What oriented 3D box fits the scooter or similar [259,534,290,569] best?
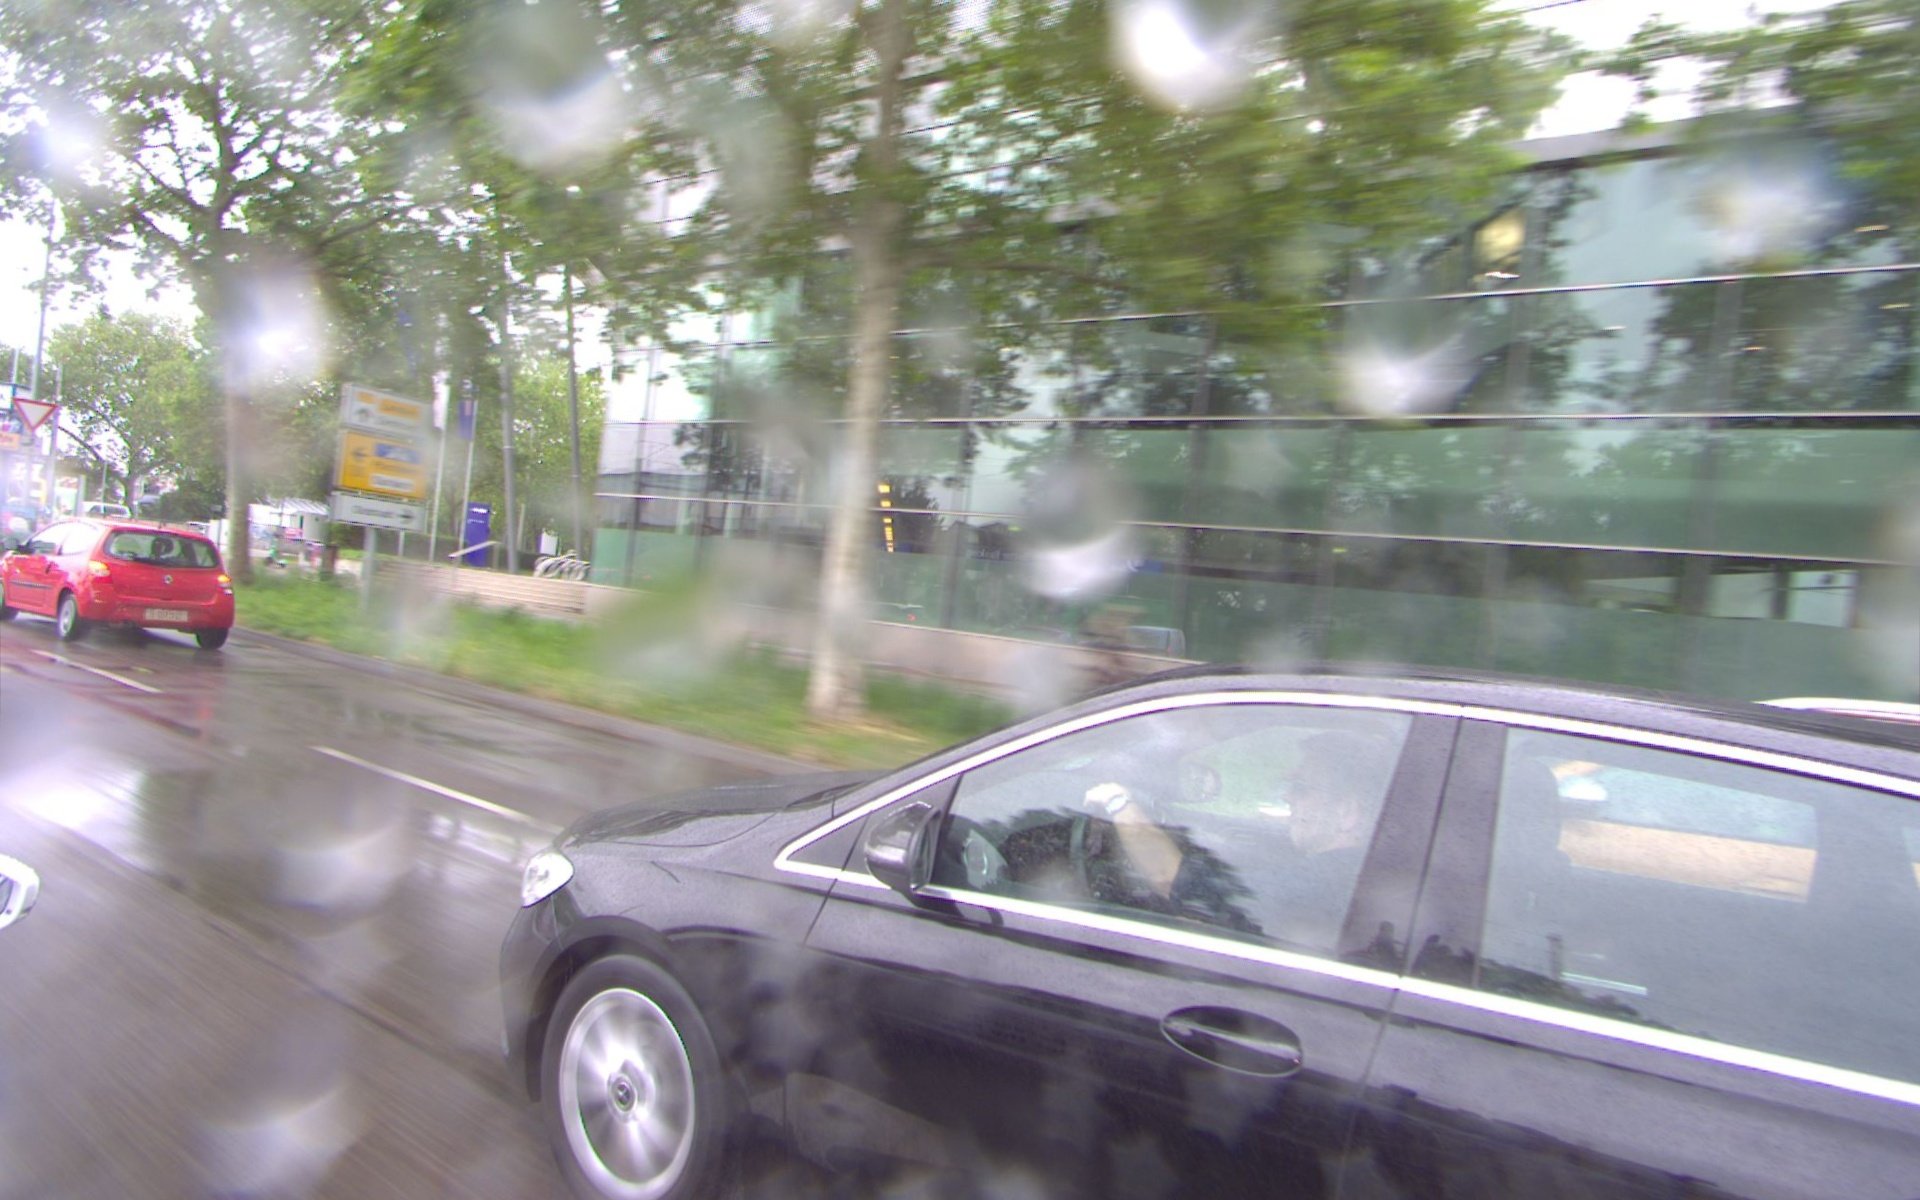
[{"bbox_3d":[-24.033,-1.677,35.276,0.335,1.153,1.173,6,1,-8],"label":"scooter or similar"}]

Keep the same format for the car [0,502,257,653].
[{"bbox_3d":[-10.913,-0.316,12.933,3.561,1.509,1.681,6,-1,32],"label":"car"}]

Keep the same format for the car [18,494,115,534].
[{"bbox_3d":[-56.405,-5.409,63.633,2.041,1.871,4.743,6,0,-5],"label":"car"}]

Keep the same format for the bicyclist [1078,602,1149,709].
[{"bbox_3d":[2.365,0.842,15.459,0.739,1.535,0.805,6,2,29],"label":"bicyclist"}]

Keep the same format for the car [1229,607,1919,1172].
[{"bbox_3d":[3.596,1.137,4.455,4.102,1.654,1.899,9,4,34],"label":"car"}]

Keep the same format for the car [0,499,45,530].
[{"bbox_3d":[-58.998,-5.385,61.678,1.899,1.671,4.338,6,0,-5],"label":"car"}]

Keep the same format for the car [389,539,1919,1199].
[{"bbox_3d":[0.743,0.857,2.409,4.019,1.542,1.872,6,0,32],"label":"car"}]

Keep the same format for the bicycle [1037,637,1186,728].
[{"bbox_3d":[2.314,1.232,15.469,2.042,1.119,0.743,6,2,30],"label":"bicycle"}]

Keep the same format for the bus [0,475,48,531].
[{"bbox_3d":[-65.433,-6.826,62.655,3.220,3.308,12.264,6,0,31],"label":"bus"}]
